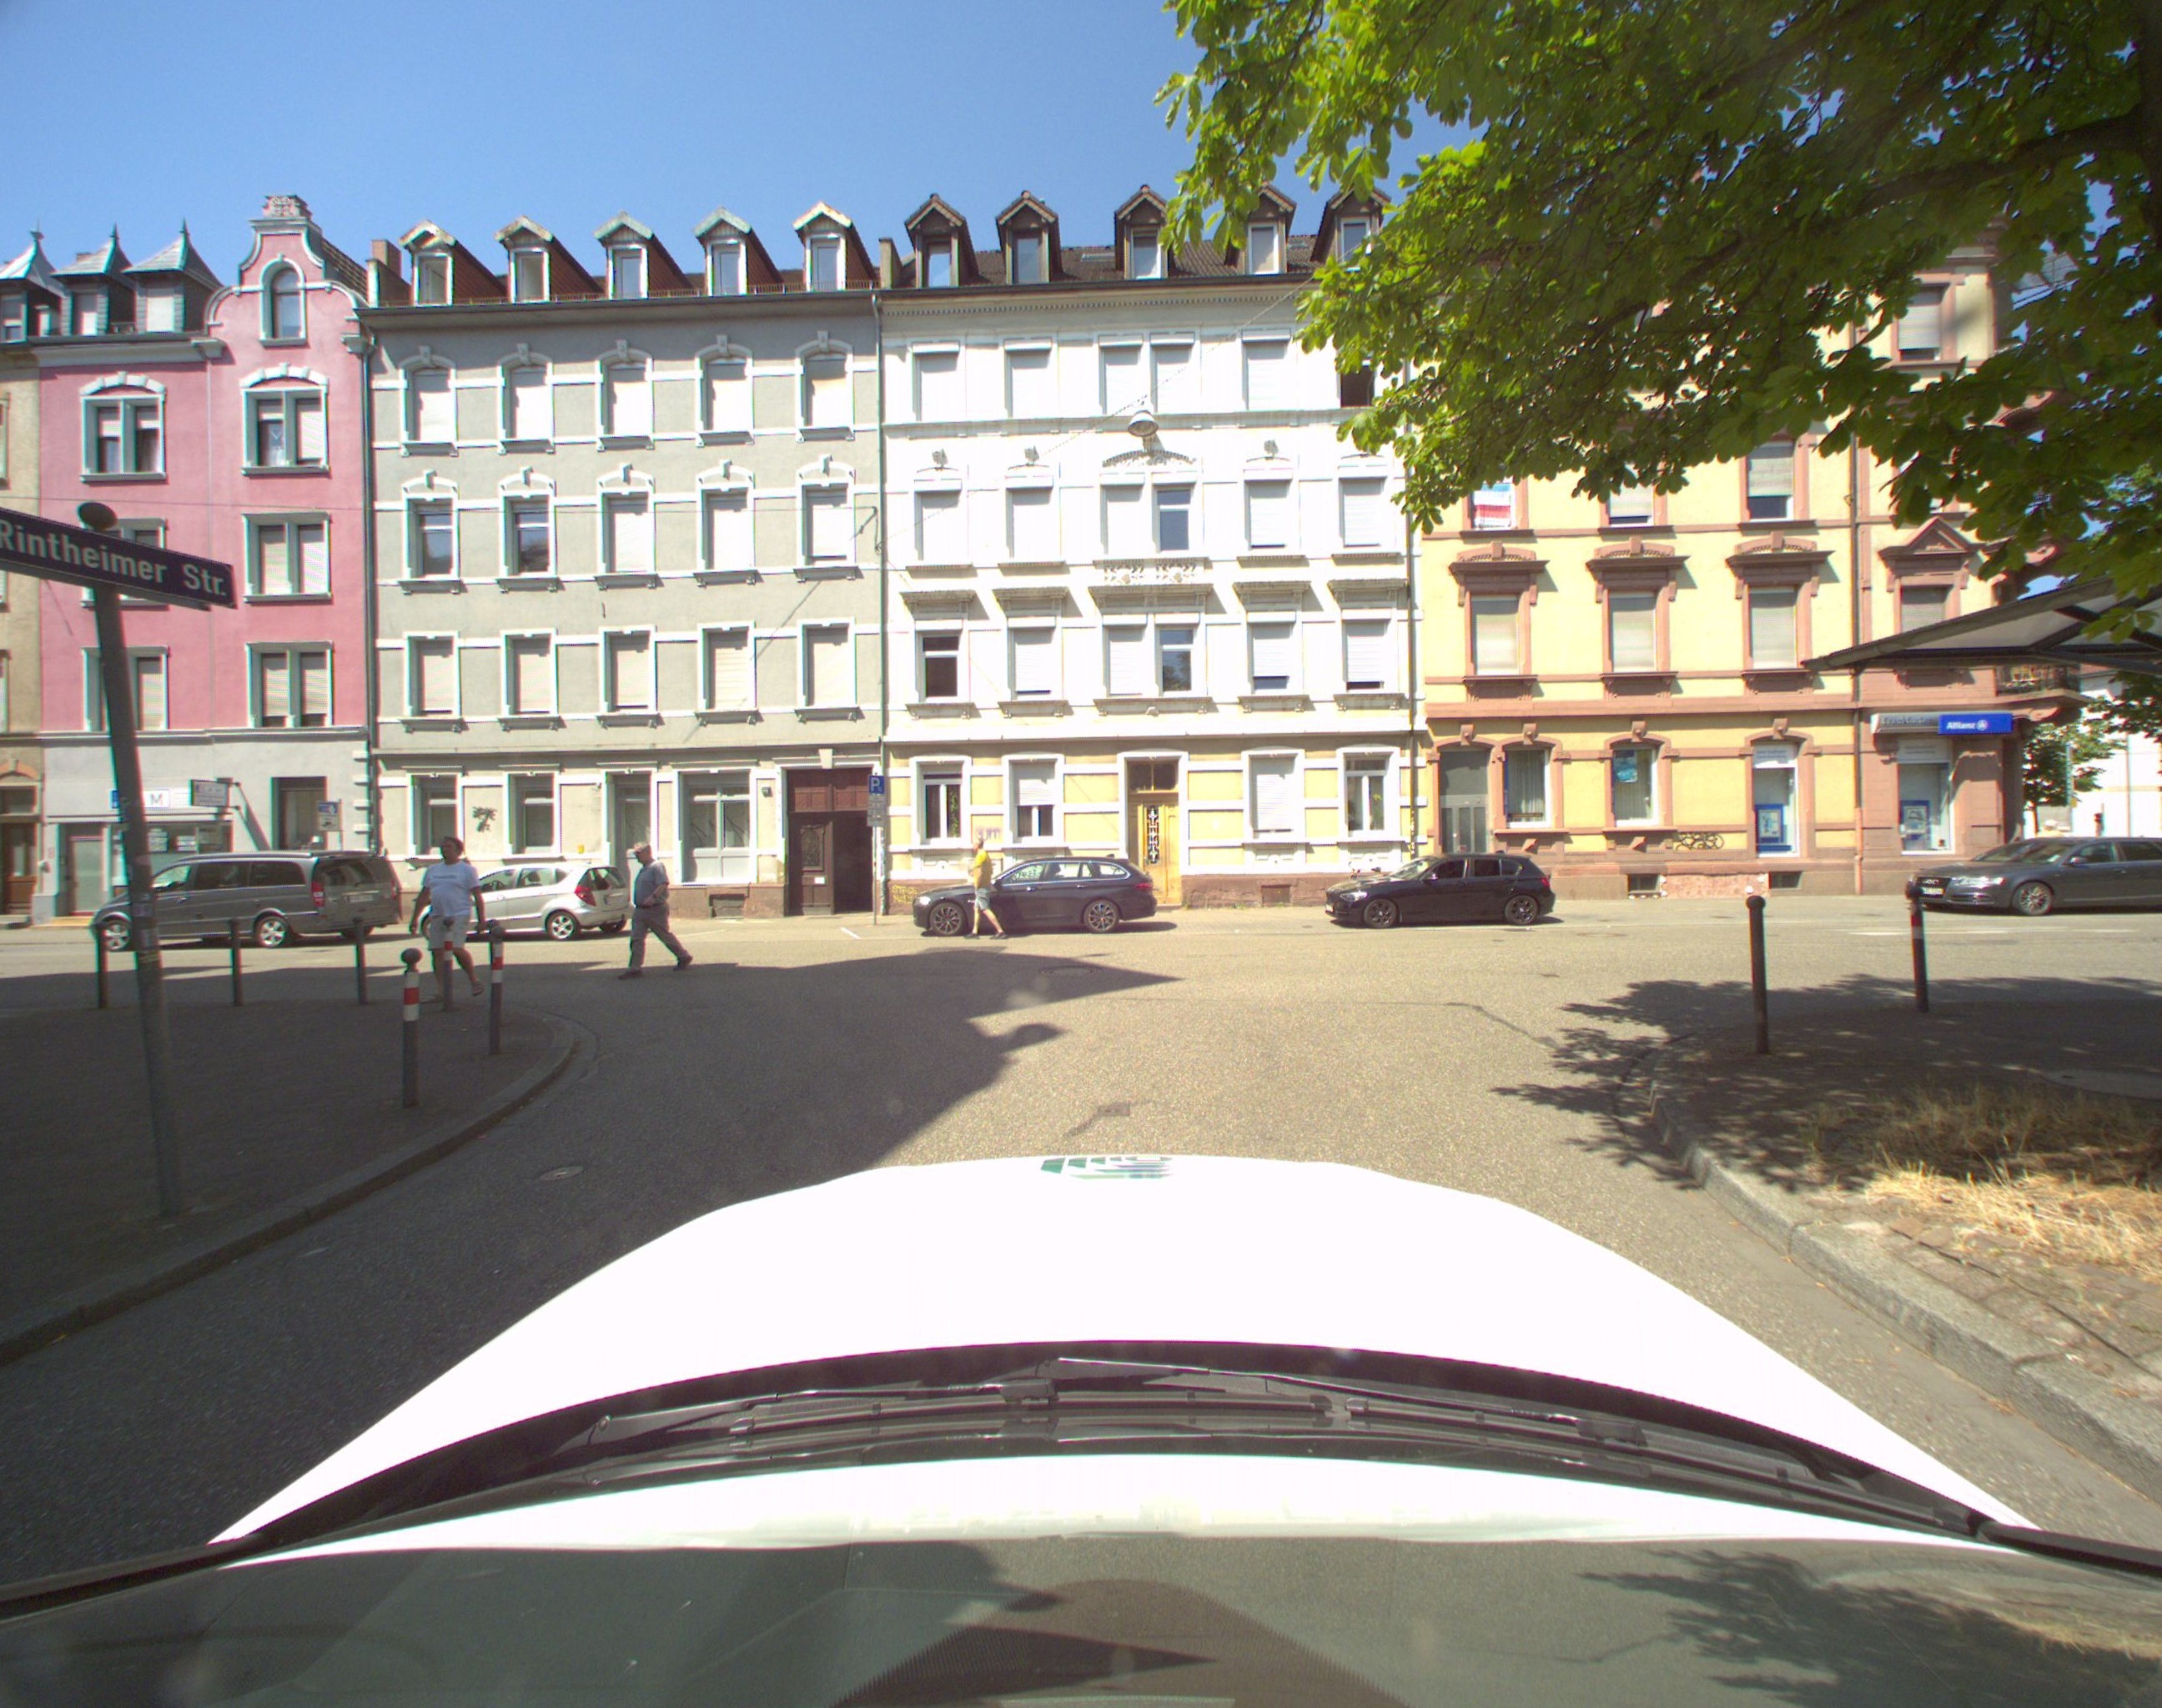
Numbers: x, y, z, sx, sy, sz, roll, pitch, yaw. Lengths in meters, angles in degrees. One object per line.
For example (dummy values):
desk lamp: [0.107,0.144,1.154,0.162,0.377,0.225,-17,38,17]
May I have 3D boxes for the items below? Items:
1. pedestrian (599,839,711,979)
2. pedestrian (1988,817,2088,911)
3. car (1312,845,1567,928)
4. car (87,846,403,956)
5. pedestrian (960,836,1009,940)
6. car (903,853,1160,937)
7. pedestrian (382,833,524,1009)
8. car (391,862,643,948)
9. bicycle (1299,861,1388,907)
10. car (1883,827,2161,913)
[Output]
pedestrian: [-5.814,0.727,11.154,0.893,1.814,0.965,-2,-1,21]
pedestrian: [21.579,0.211,18.381,1.230,2.014,1.046,-2,-1,-19]
car: [6.974,0.605,16.181,4.276,1.370,1.809,-2,2,3]
car: [-17.389,0.929,17.109,4.687,1.997,1.878,-2,1,2]
pedestrian: [-1.778,0.611,15.065,0.721,1.853,0.685,-2,-1,3]
car: [-0.894,0.781,16.396,4.839,1.437,2.001,-2,0,3]
pedestrian: [-7.159,0.728,9.320,0.842,1.889,0.940,-2,-1,21]
car: [-11.785,1.032,17.202,4.031,1.562,1.808,-2,0,1]
bicycle: [6.351,0.719,19.754,1.998,1.021,0.424,-2,2,0]
car: [18.721,0.274,15.825,4.404,1.455,1.808,-2,1,3]
